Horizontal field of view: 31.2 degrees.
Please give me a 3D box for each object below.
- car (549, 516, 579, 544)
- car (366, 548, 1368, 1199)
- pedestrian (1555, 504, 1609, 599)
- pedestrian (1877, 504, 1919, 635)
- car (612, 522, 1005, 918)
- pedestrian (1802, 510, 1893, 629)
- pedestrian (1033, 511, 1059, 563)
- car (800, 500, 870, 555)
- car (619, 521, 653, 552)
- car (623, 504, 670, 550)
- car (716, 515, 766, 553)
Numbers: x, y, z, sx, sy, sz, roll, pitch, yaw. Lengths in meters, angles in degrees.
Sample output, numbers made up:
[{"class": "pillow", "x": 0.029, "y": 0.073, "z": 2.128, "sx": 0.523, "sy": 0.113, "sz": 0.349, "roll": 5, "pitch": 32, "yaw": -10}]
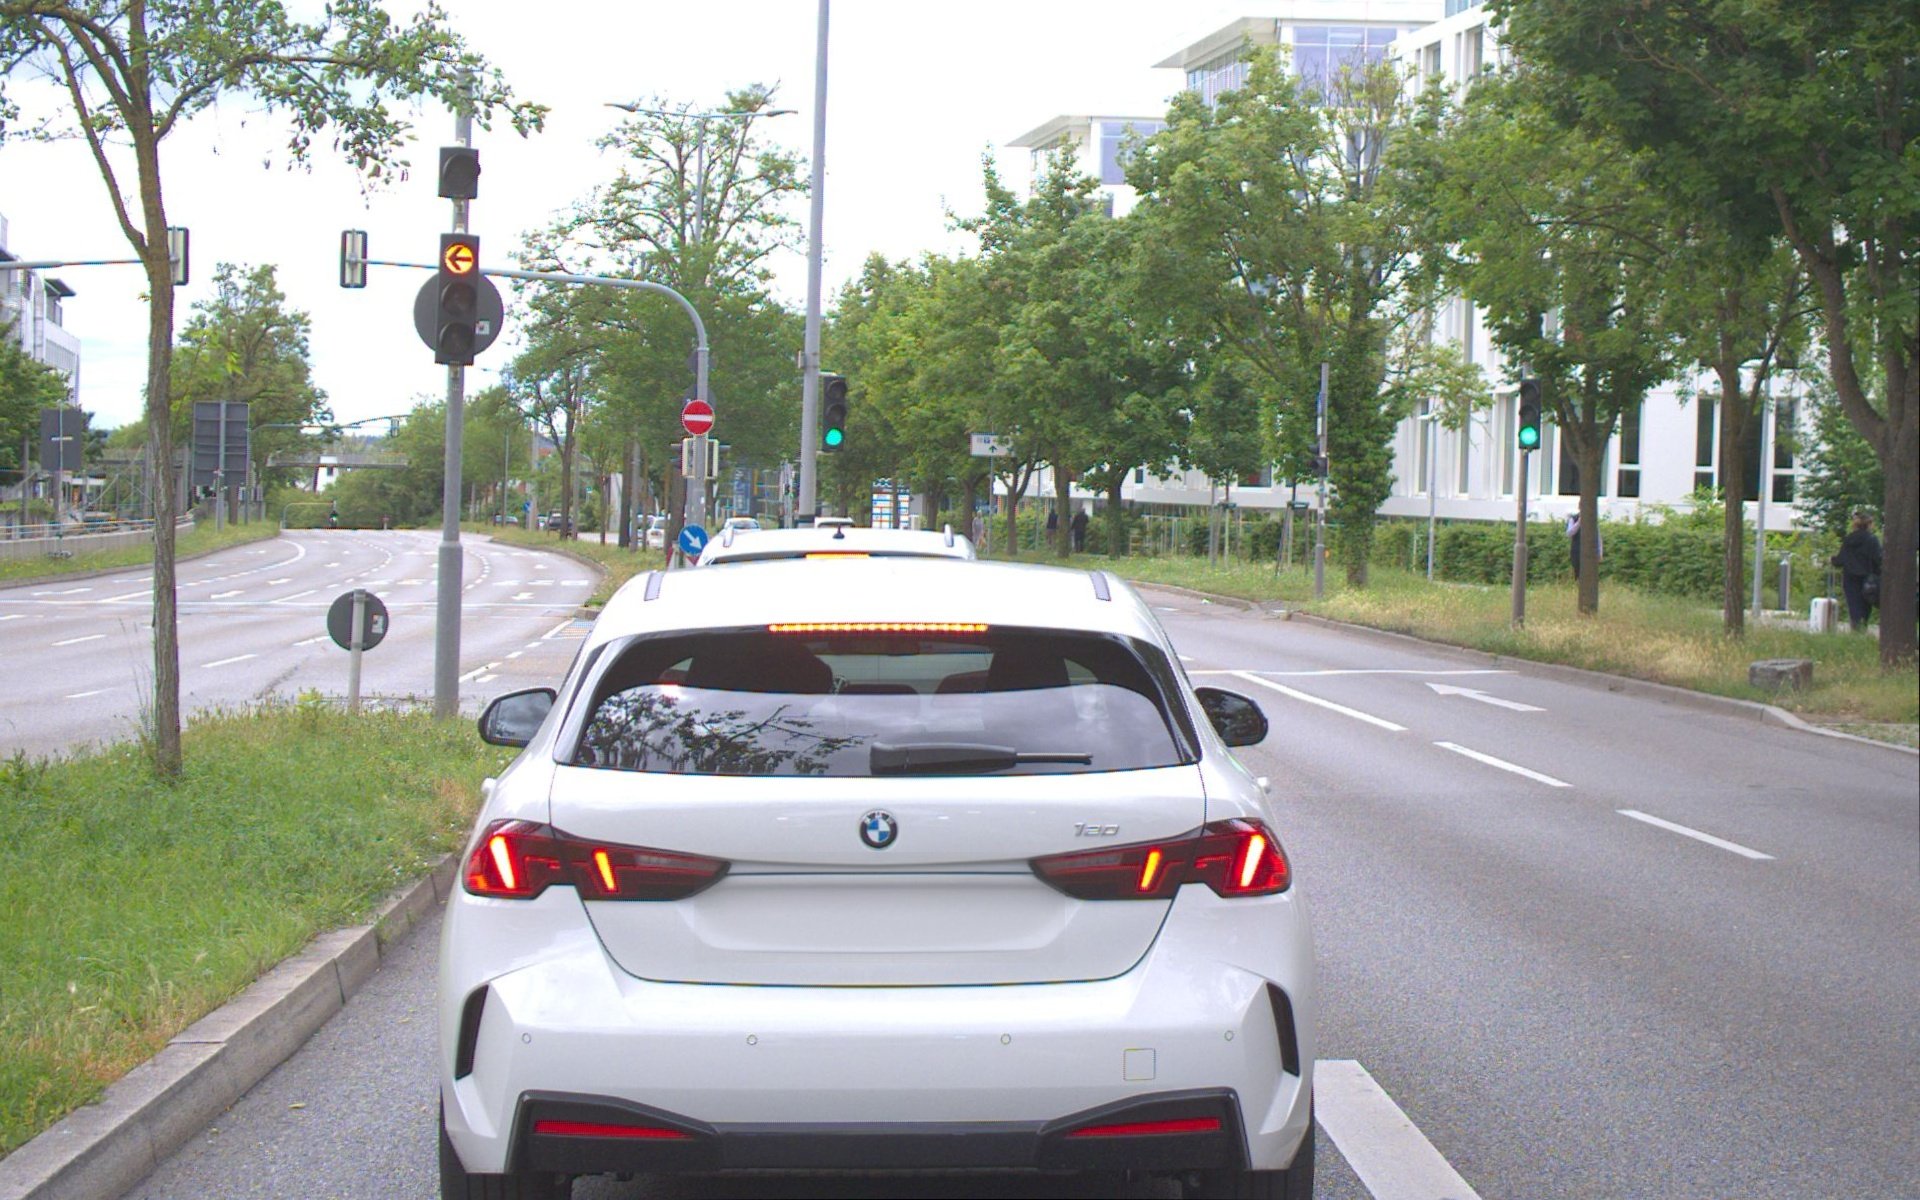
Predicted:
[{"class": "car", "x": -24.026, "y": -4.227, "z": 208.604, "sx": 1.601, "sy": 1.661, "sz": 4.001, "roll": 1, "pitch": 1, "yaw": -4}, {"class": "car", "x": -0.197, "y": 0.618, "z": 8.346, "sx": 1.822, "sy": 1.433, "sz": 4.000, "roll": 1, "pitch": 1, "yaw": -1}, {"class": "pedestrian", "x": 10.399, "y": -0.808, "z": 57.507, "sx": 0.741, "sy": 1.568, "sz": 0.674, "roll": 1, "pitch": 0, "yaw": -1}, {"class": "pedestrian", "x": 11.765, "y": -0.369, "z": 42.274, "sx": 0.699, "sy": 1.590, "sz": 0.883, "roll": 1, "pitch": 0, "yaw": -1}, {"class": "car", "x": -0.634, "y": 0.447, "z": 15.864, "sx": 1.549, "sy": 1.563, "sz": 4.000, "roll": 1, "pitch": 1, "yaw": -1}, {"class": "pedestrian", "x": 10.989, "y": -0.383, "z": 42.593, "sx": 0.789, "sy": 1.443, "sz": 1.112, "roll": 1, "pitch": 0, "yaw": -1}, {"class": "pedestrian", "x": 3.317, "y": -2.430, "z": 132.295, "sx": 0.762, "sy": 2.007, "sz": 0.754, "roll": 1, "pitch": 1, "yaw": -15}, {"class": "car", "x": -3.926, "y": -2.253, "z": 107.327, "sx": 1.993, "sy": 1.664, "sz": 4.001, "roll": 0, "pitch": 1, "yaw": -5}, {"class": "car", "x": -17.574, "y": -3.446, "z": 186.715, "sx": 1.738, "sy": 1.661, "sz": 4.001, "roll": 1, "pitch": 1, "yaw": -4}, {"class": "car", "x": -12.275, "y": -2.844, "z": 134.490, "sx": 1.695, "sy": 1.711, "sz": 4.001, "roll": 1, "pitch": 1, "yaw": -7}, {"class": "car", "x": -8.928, "y": -2.695, "z": 140.163, "sx": 1.692, "sy": 1.481, "sz": 3.694, "roll": 1, "pitch": 1, "yaw": -9}]
